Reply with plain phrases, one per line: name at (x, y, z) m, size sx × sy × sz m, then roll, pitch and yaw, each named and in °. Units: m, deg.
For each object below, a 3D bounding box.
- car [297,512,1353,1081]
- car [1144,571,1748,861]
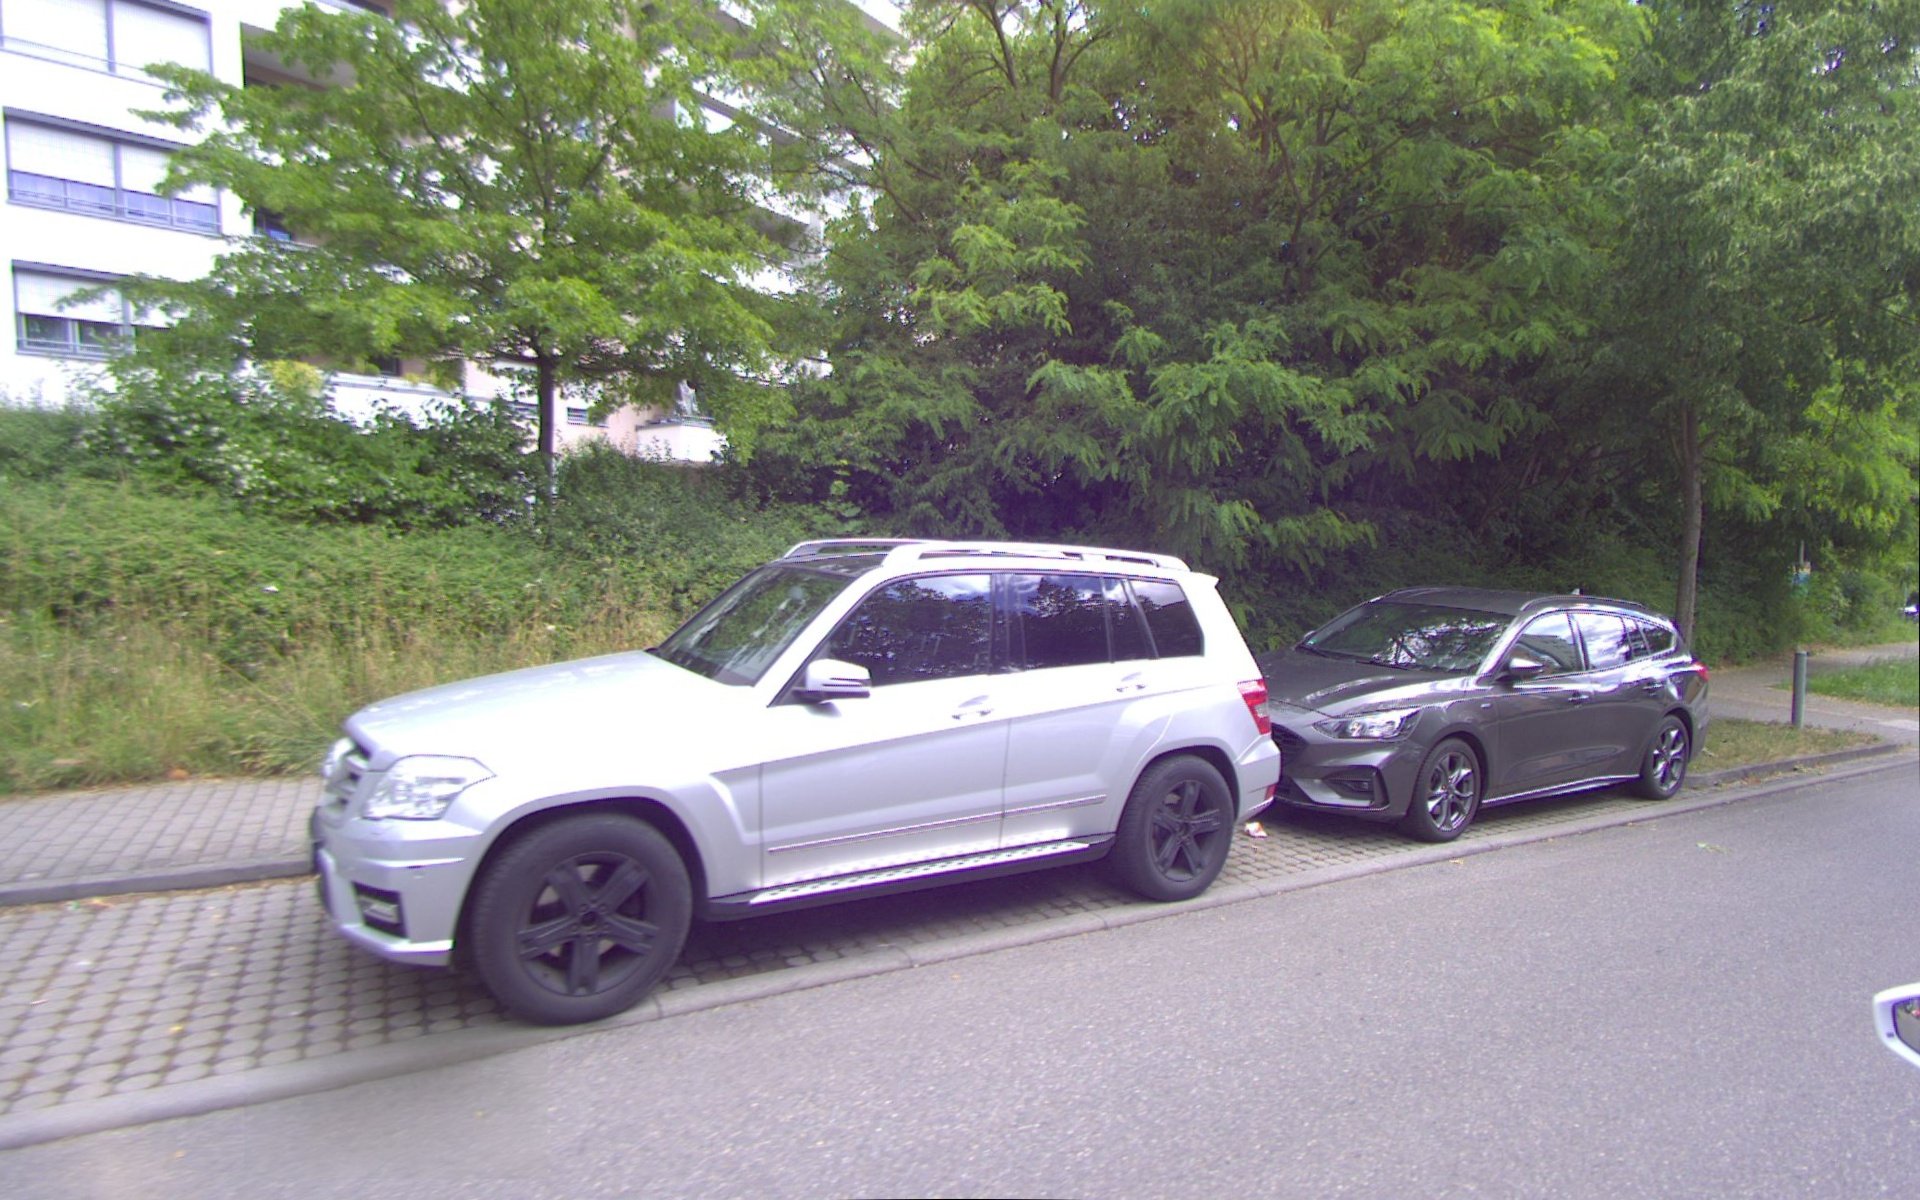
car at (-0.404, 0.505, 4.761) m, size 4.425 × 1.637 × 1.790 m, roll 0°, pitch 5°, yaw -30°
car at (3.607, 0.612, 7.256) m, size 4.403 × 1.485 × 1.681 m, roll 0°, pitch 5°, yaw -30°
